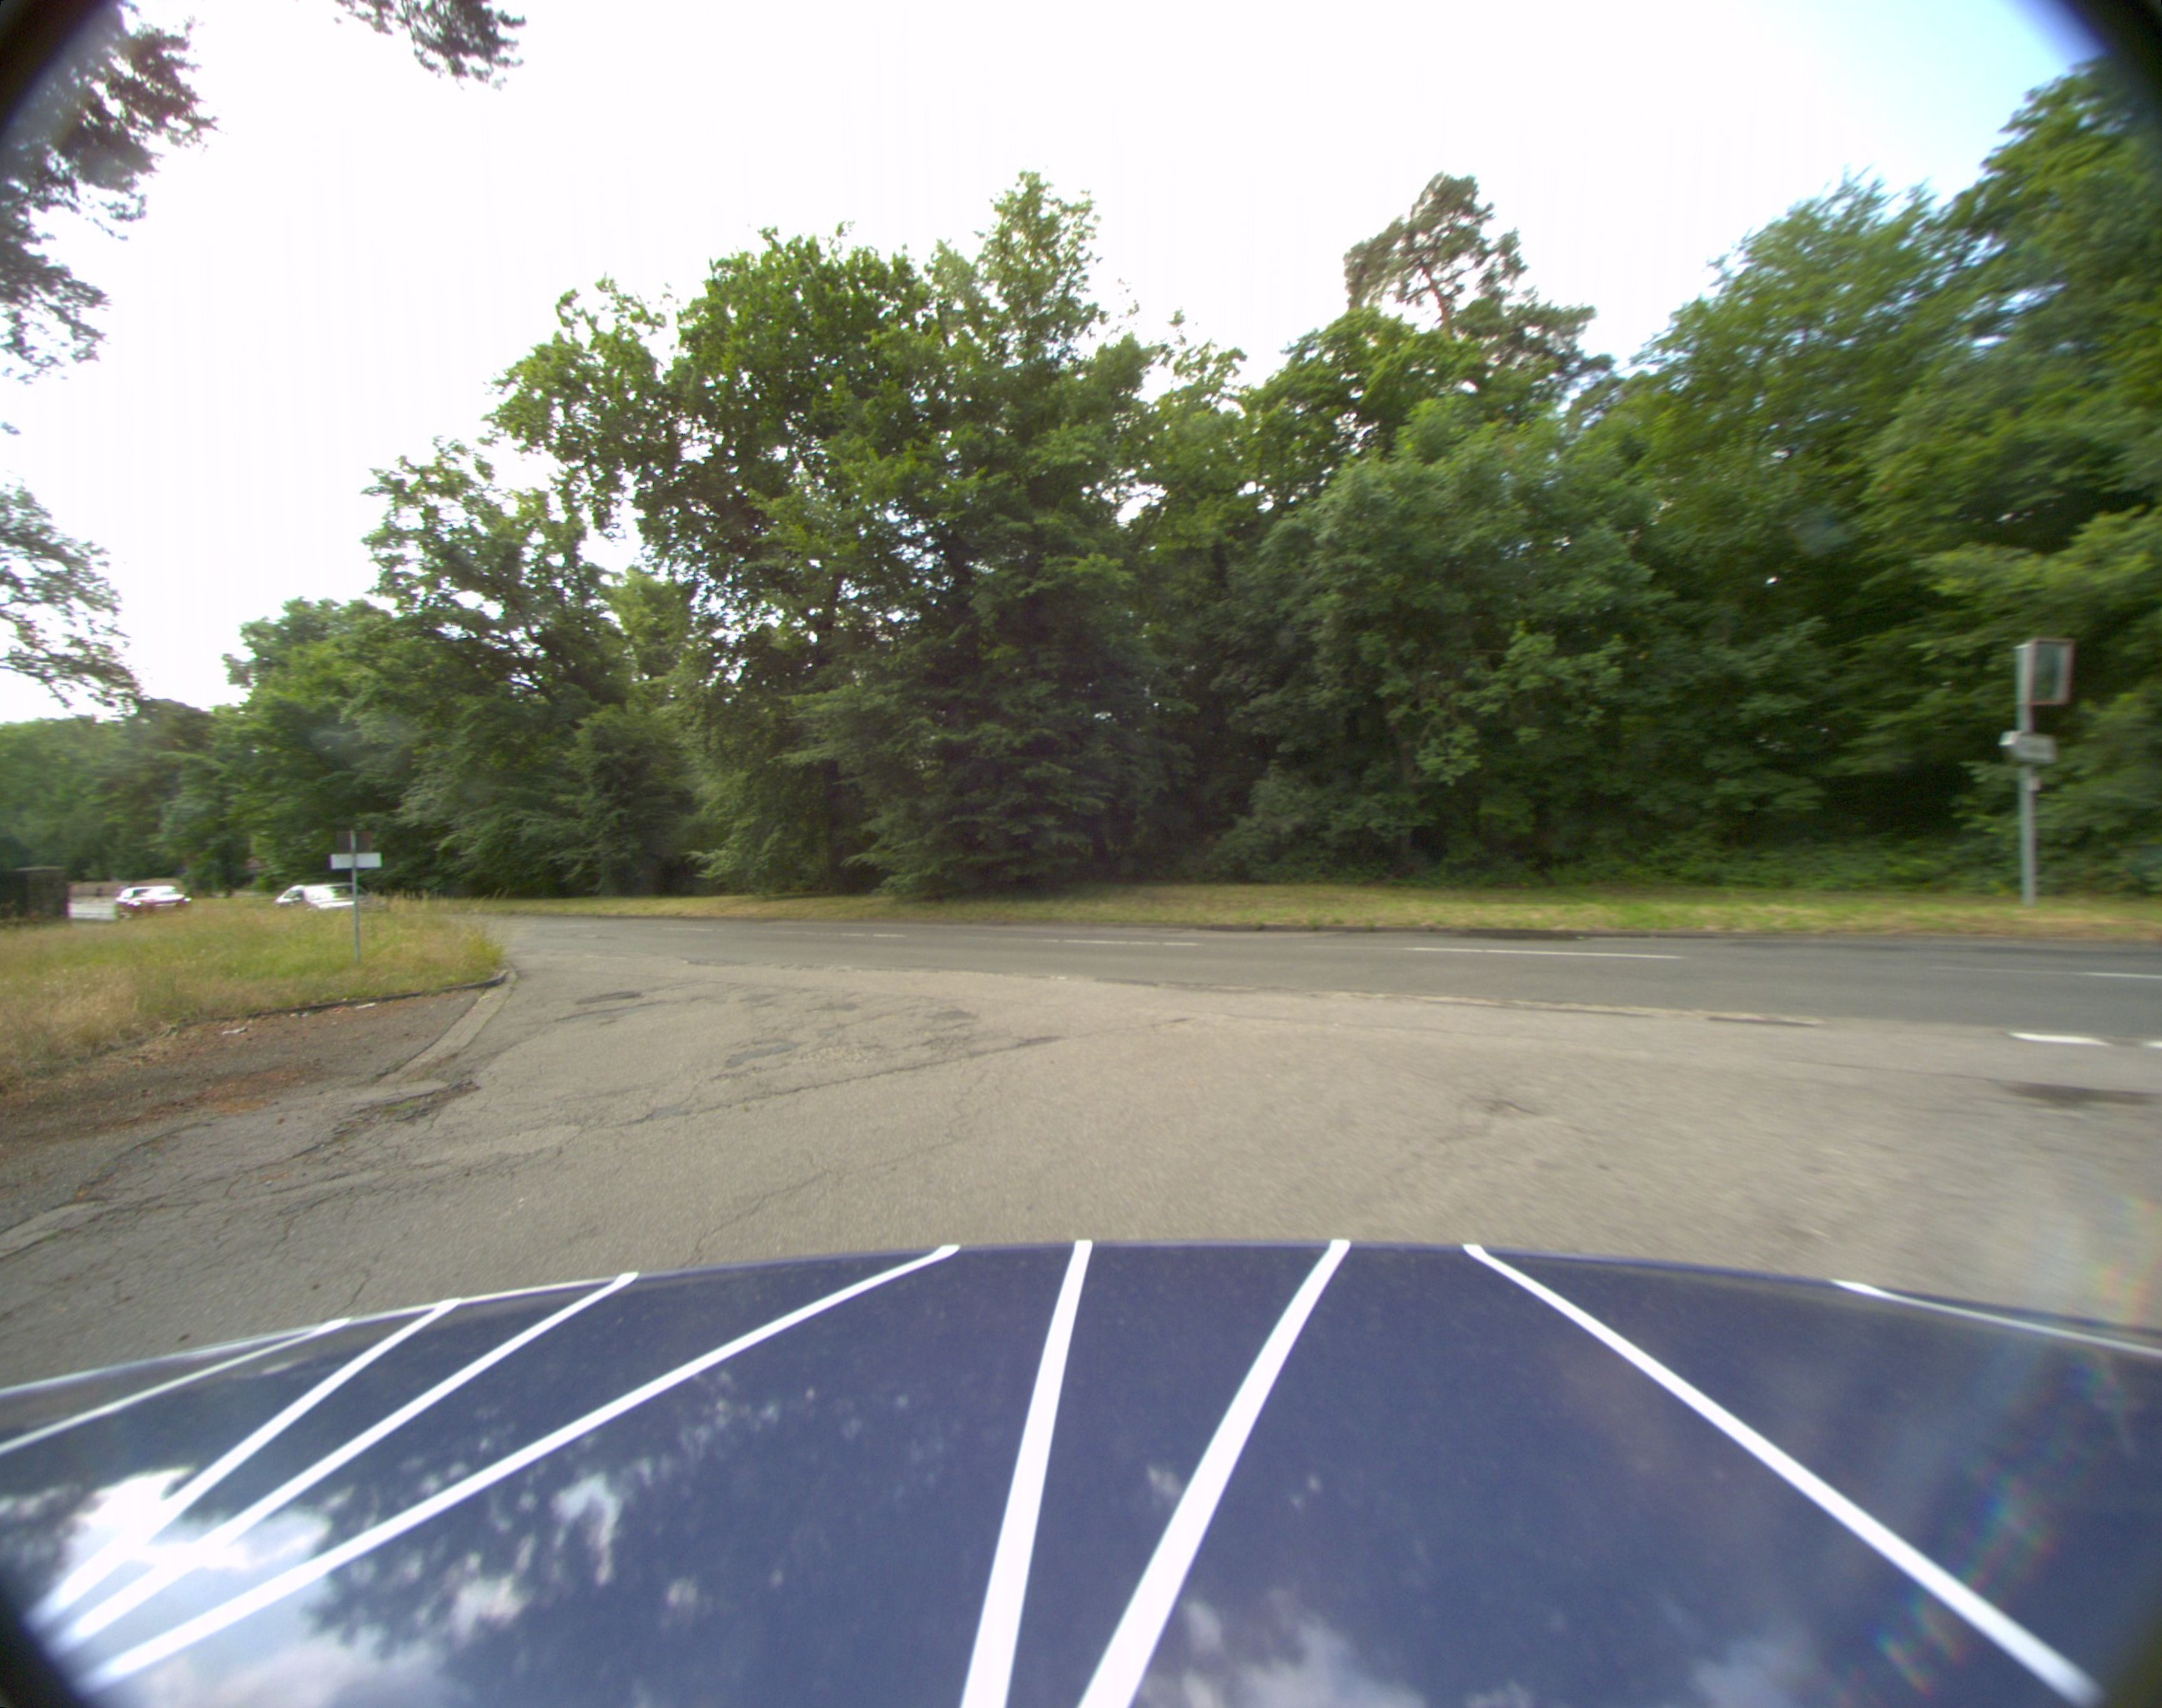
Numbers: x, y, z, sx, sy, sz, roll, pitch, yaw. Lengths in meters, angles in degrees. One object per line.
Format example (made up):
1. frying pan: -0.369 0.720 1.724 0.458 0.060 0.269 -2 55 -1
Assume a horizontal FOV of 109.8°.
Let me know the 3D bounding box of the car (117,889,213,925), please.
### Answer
1. car: -42.549 2.426 35.293 4.193 1.455 2.003 -1 1 28

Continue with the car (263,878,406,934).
1. car: -24.347 1.704 24.761 4.518 1.456 1.969 -4 1 28
